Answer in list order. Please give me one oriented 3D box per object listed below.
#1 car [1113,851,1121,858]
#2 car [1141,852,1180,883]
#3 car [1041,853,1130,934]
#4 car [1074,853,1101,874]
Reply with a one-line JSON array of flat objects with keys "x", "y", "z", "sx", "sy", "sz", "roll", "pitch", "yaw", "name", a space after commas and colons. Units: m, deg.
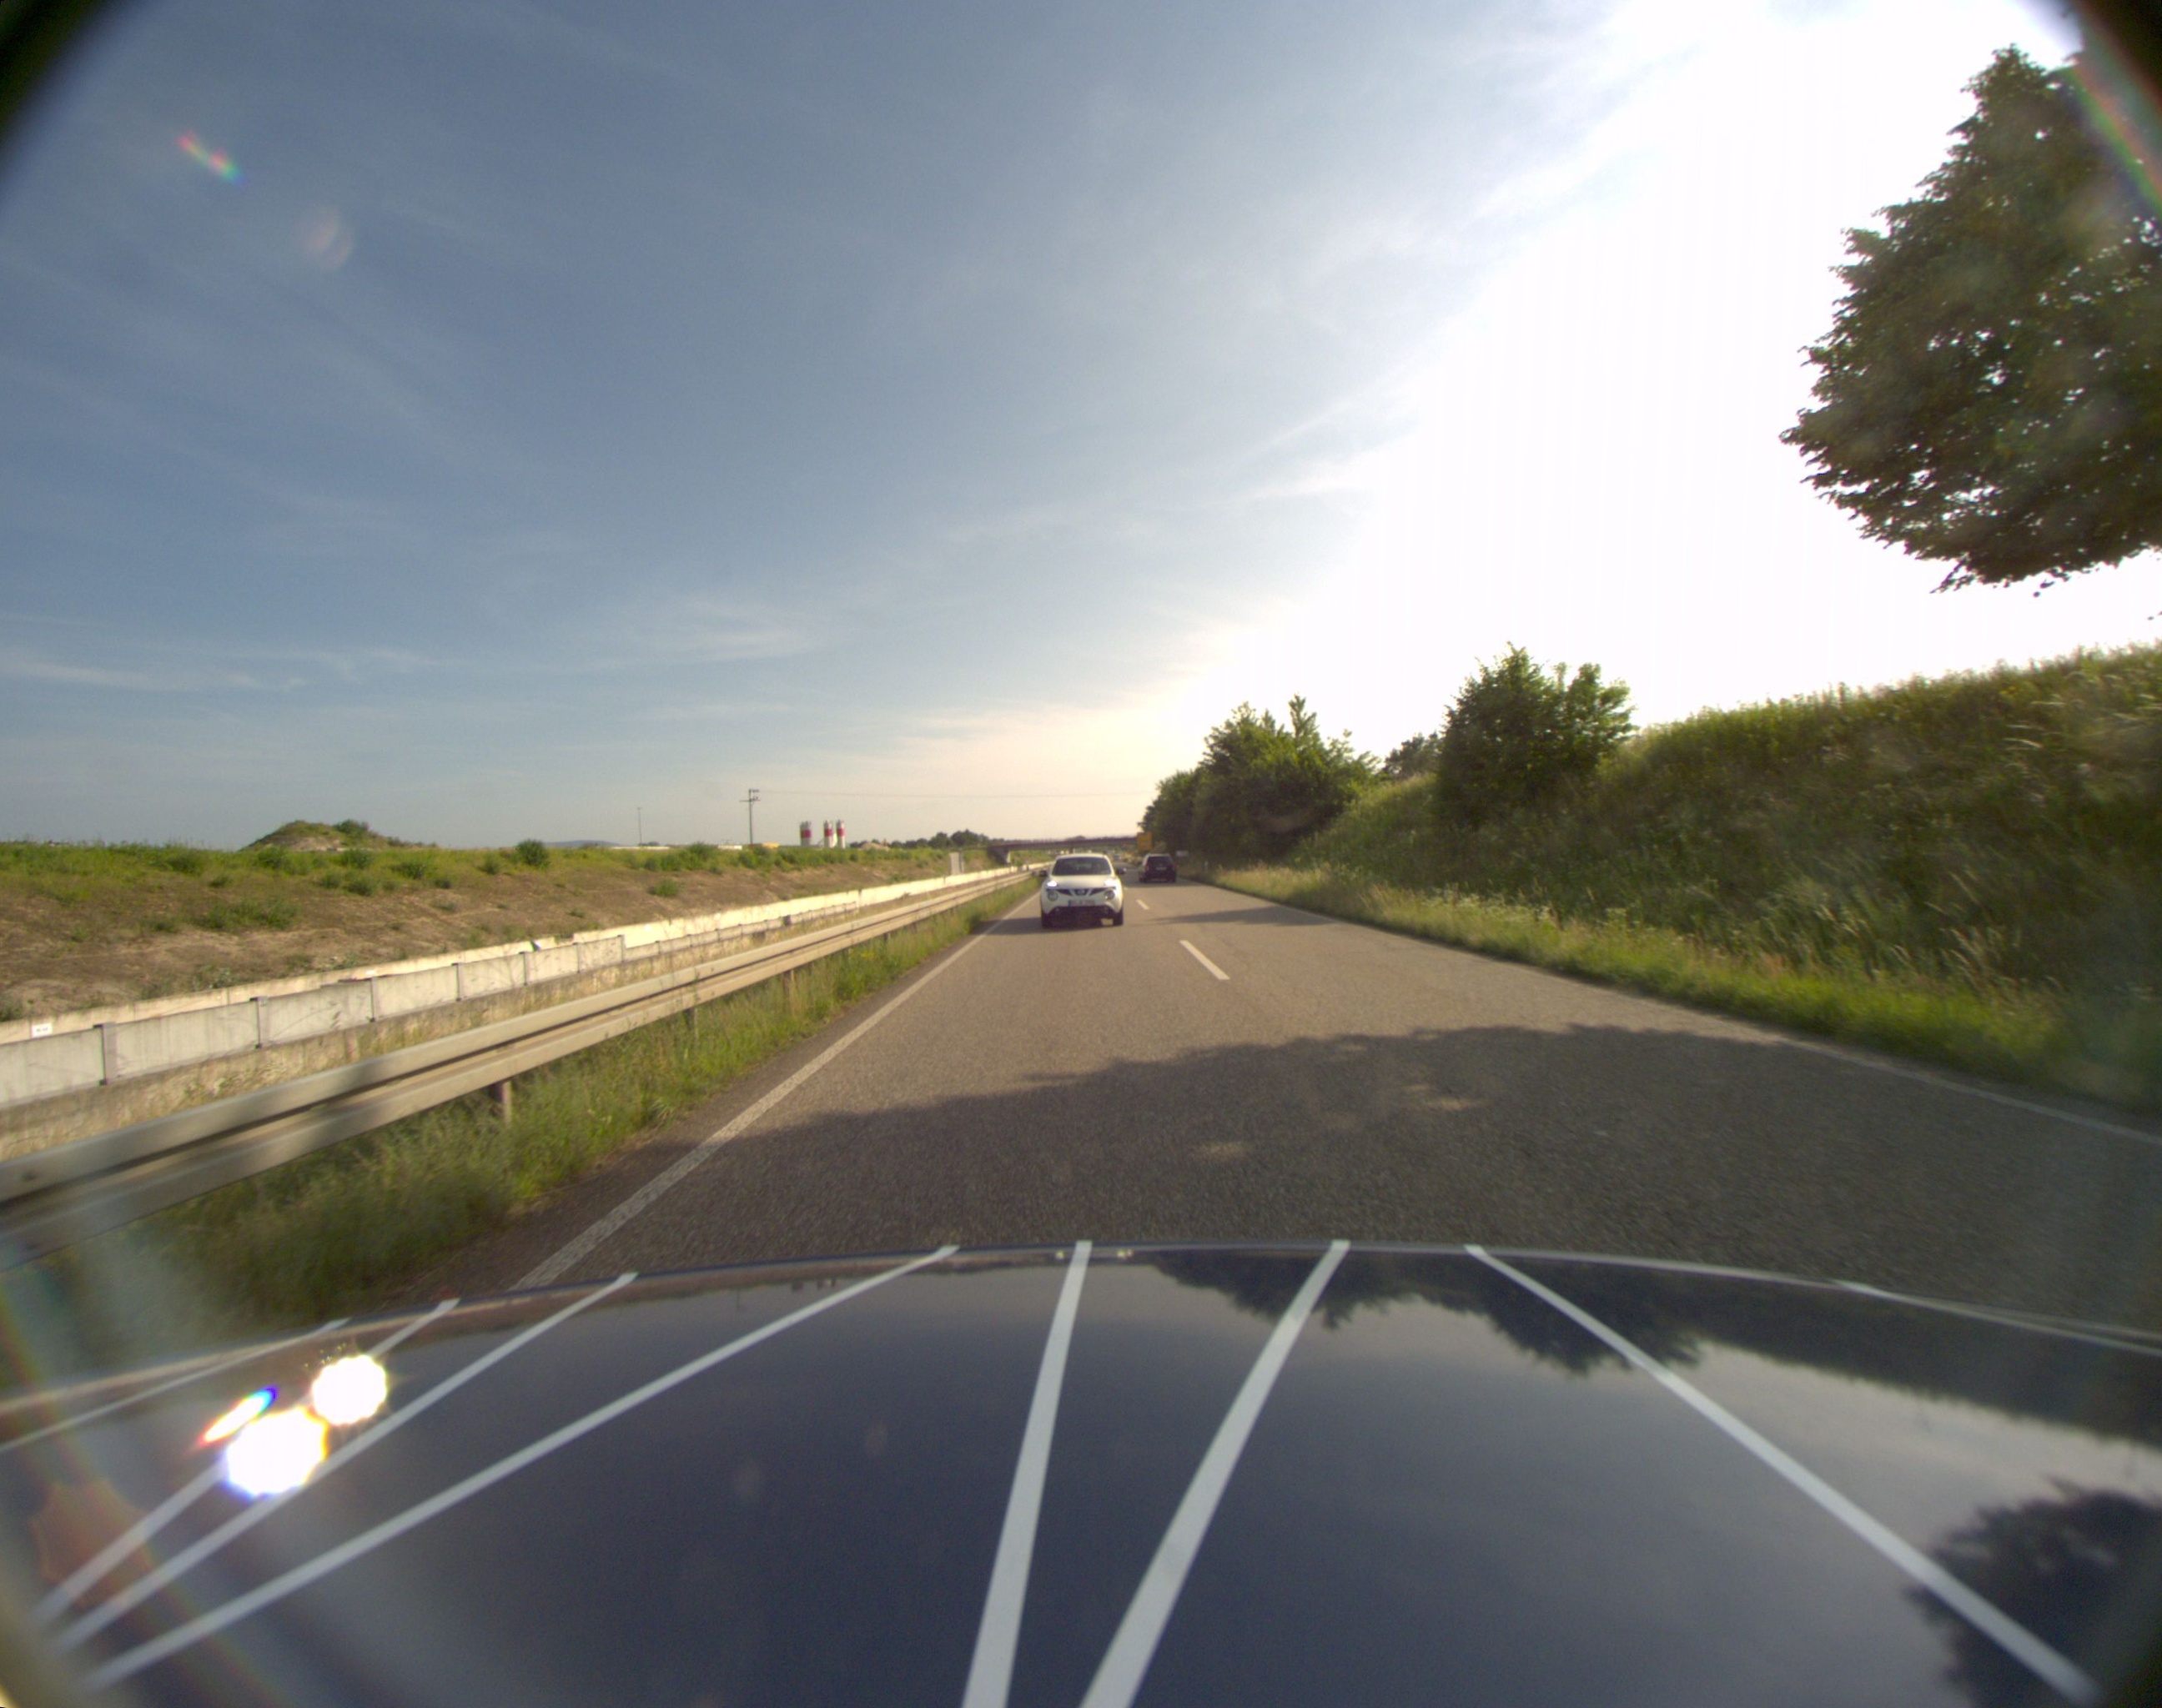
[{"x": 8.713, "y": 0.131, "z": 183.158, "sx": 1.749, "sy": 1.555, "sz": 4.365, "roll": -2, "pitch": 0, "yaw": 0, "name": "car"}, {"x": 4.188, "y": 0.672, "z": 40.548, "sx": 1.747, "sy": 1.538, "sz": 4.312, "roll": -1, "pitch": 0, "yaw": 2, "name": "car"}, {"x": 0.085, "y": 0.813, "z": 17.880, "sx": 1.789, "sy": 1.593, "sz": 4.571, "roll": -1, "pitch": 1, "yaw": 0, "name": "car"}, {"x": 0.534, "y": 0.692, "z": 58.233, "sx": 1.908, "sy": 1.512, "sz": 4.465, "roll": -2, "pitch": 0, "yaw": 1, "name": "car"}]
